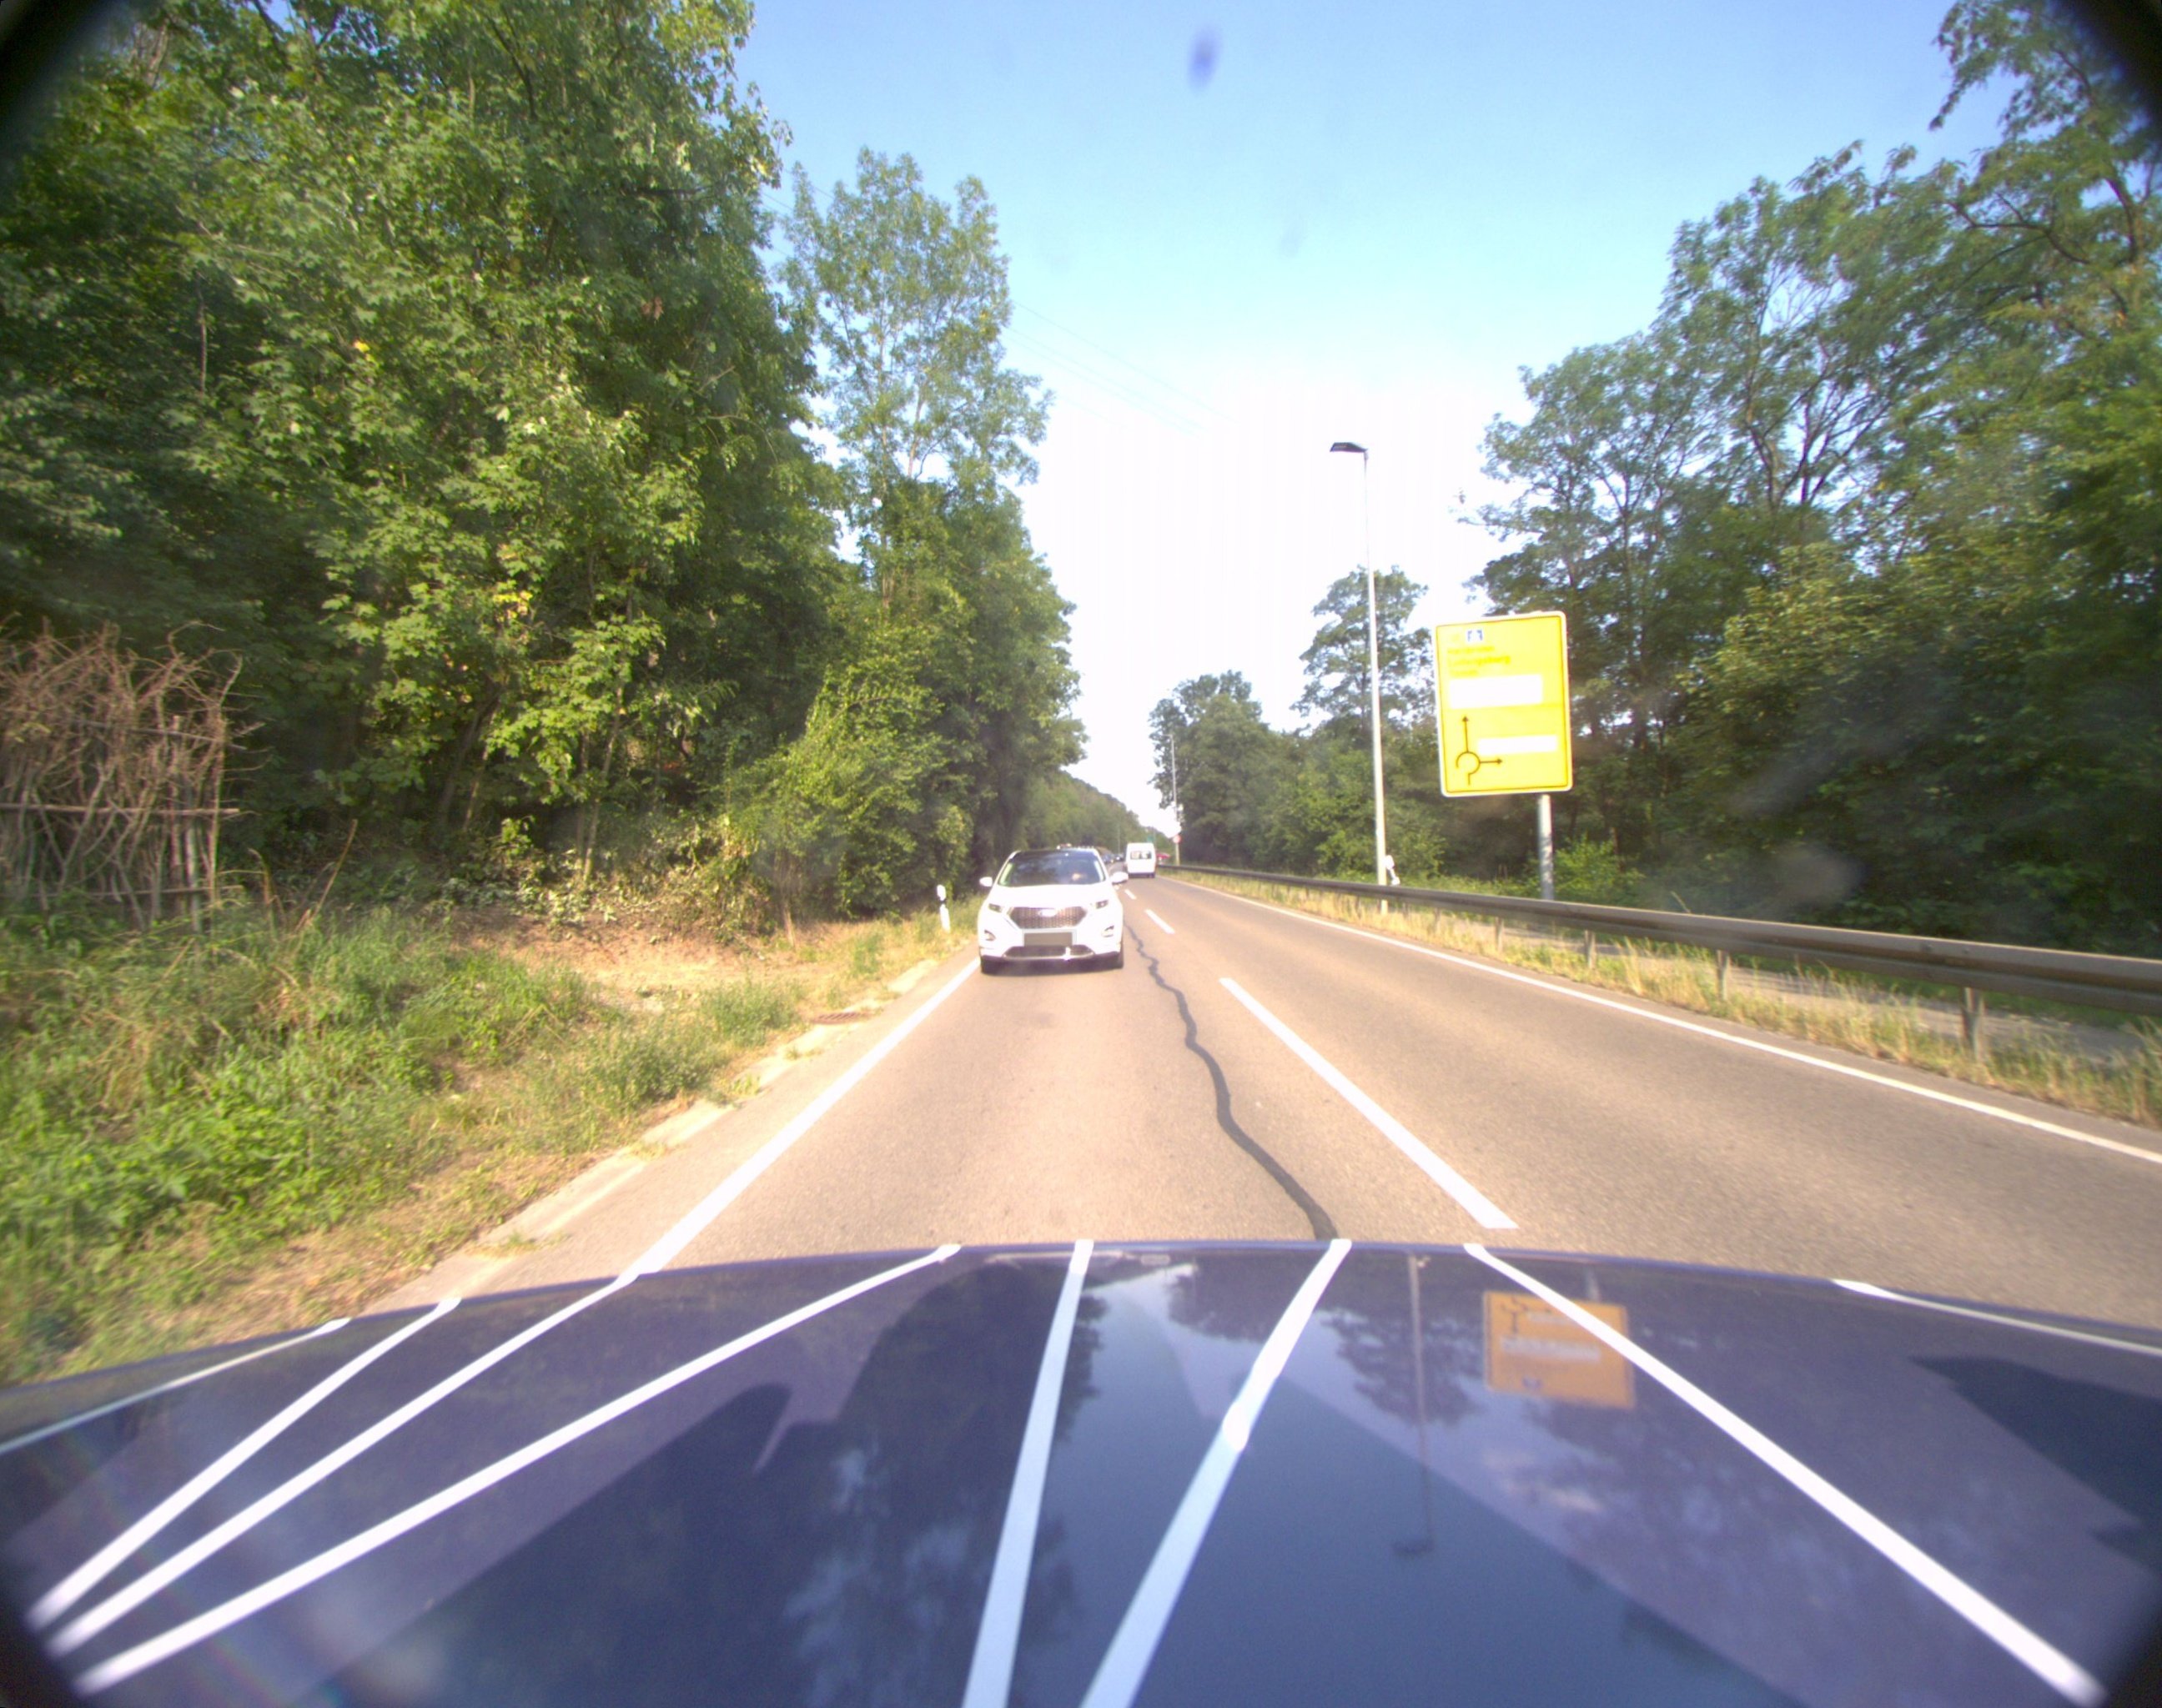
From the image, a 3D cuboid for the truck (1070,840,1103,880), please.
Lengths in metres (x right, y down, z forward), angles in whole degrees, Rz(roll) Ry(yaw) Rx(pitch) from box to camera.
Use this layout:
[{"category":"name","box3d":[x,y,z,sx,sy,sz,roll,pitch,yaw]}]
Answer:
[{"category":"truck","box3d":[0.349,0.363,47.830,1.894,2.334,5.273,-2,0,1]}]

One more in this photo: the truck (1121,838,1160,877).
[{"category":"truck","box3d":[3.930,0.193,51.116,2.063,2.371,5.872,-2,1,0]}]

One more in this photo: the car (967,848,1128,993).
[{"category":"car","box3d":[-0.379,0.806,11.351,1.894,1.691,4.136,-2,0,1]}]

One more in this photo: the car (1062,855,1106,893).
[{"category":"car","box3d":[0.157,0.807,32.777,1.704,1.477,4.136,-2,0,1]}]
